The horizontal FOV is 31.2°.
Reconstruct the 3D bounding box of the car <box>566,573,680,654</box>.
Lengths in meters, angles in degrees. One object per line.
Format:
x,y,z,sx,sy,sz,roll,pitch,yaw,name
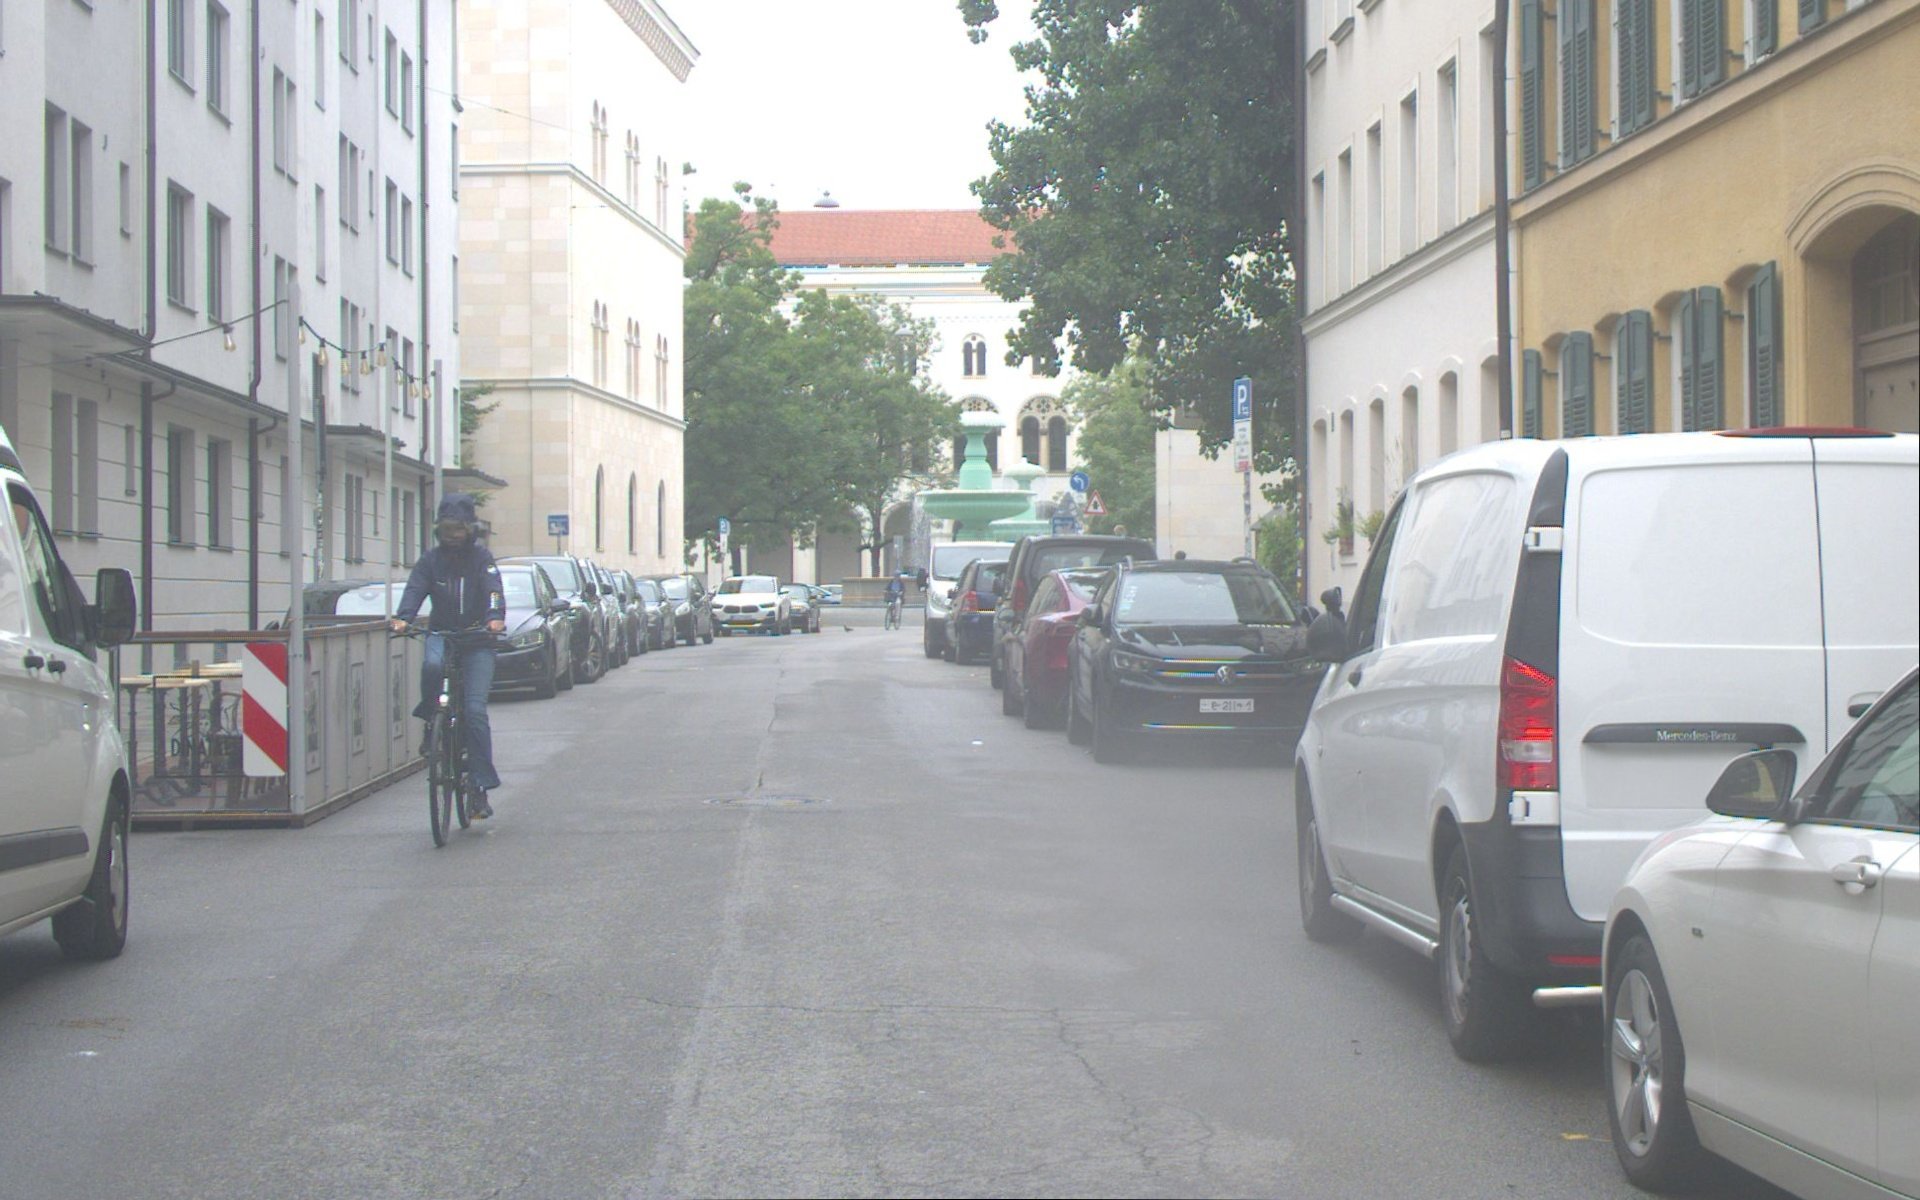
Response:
-6.633,0.242,67.988,1.750,1.448,4.015,-2,1,1,car

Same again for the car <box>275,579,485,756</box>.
-5.015,0.534,29.925,1.638,1.349,4.060,-2,1,-9,car

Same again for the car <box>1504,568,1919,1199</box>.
2.524,0.694,6.878,1.815,1.504,4.588,-1,1,-4,car

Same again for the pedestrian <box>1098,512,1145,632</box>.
2.962,-0.509,63.123,0.793,2.190,0.814,0,0,-2,pedestrian

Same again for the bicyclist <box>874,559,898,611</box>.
-2.236,-0.450,103.871,0.657,1.545,0.887,-1,0,1,bicyclist

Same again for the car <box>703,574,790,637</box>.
-5.441,0.148,88.041,1.778,1.529,4.211,-2,-1,2,car

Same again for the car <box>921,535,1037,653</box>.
0.307,-0.116,58.803,1.882,1.918,4.875,0,0,0,car

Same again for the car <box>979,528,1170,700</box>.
1.234,0.147,38.720,1.846,1.770,4.201,2,0,-2,car

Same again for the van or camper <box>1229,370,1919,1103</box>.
2.295,0.338,12.101,1.993,2.007,5.233,0,1,-3,van or camper

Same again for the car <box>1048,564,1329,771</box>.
1.689,0.461,26.568,1.745,1.459,4.000,0,1,-2,car

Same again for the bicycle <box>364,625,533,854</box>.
-2.771,0.729,18.793,0.732,1.147,2.000,0,1,-3,bicycle

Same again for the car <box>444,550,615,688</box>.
-5.643,0.208,45.551,1.872,1.682,4.521,-2,1,-3,car

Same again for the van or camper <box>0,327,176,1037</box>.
-4.125,0.274,11.324,1.993,2.303,5.479,-1,1,-2,van or camper

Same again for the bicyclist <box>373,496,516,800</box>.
-2.809,0.255,18.791,0.686,1.622,0.853,0,0,-3,bicyclist

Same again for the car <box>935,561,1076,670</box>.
0.655,0.214,52.760,1.807,1.595,4.216,1,0,-4,car

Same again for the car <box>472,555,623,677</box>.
-6.072,0.193,51.036,1.872,1.652,4.591,-2,1,-3,car

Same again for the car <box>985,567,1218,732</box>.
1.243,0.417,31.980,1.713,1.419,4.458,0,0,-3,car

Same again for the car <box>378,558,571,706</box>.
-5.494,0.317,39.336,1.773,1.534,4.159,-2,1,-3,car

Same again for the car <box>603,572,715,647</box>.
-6.334,0.181,72.755,1.751,1.448,4.015,-2,1,3,car

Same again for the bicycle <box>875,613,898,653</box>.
-2.221,0.996,103.861,0.648,1.193,1.950,-1,0,0,bicycle
